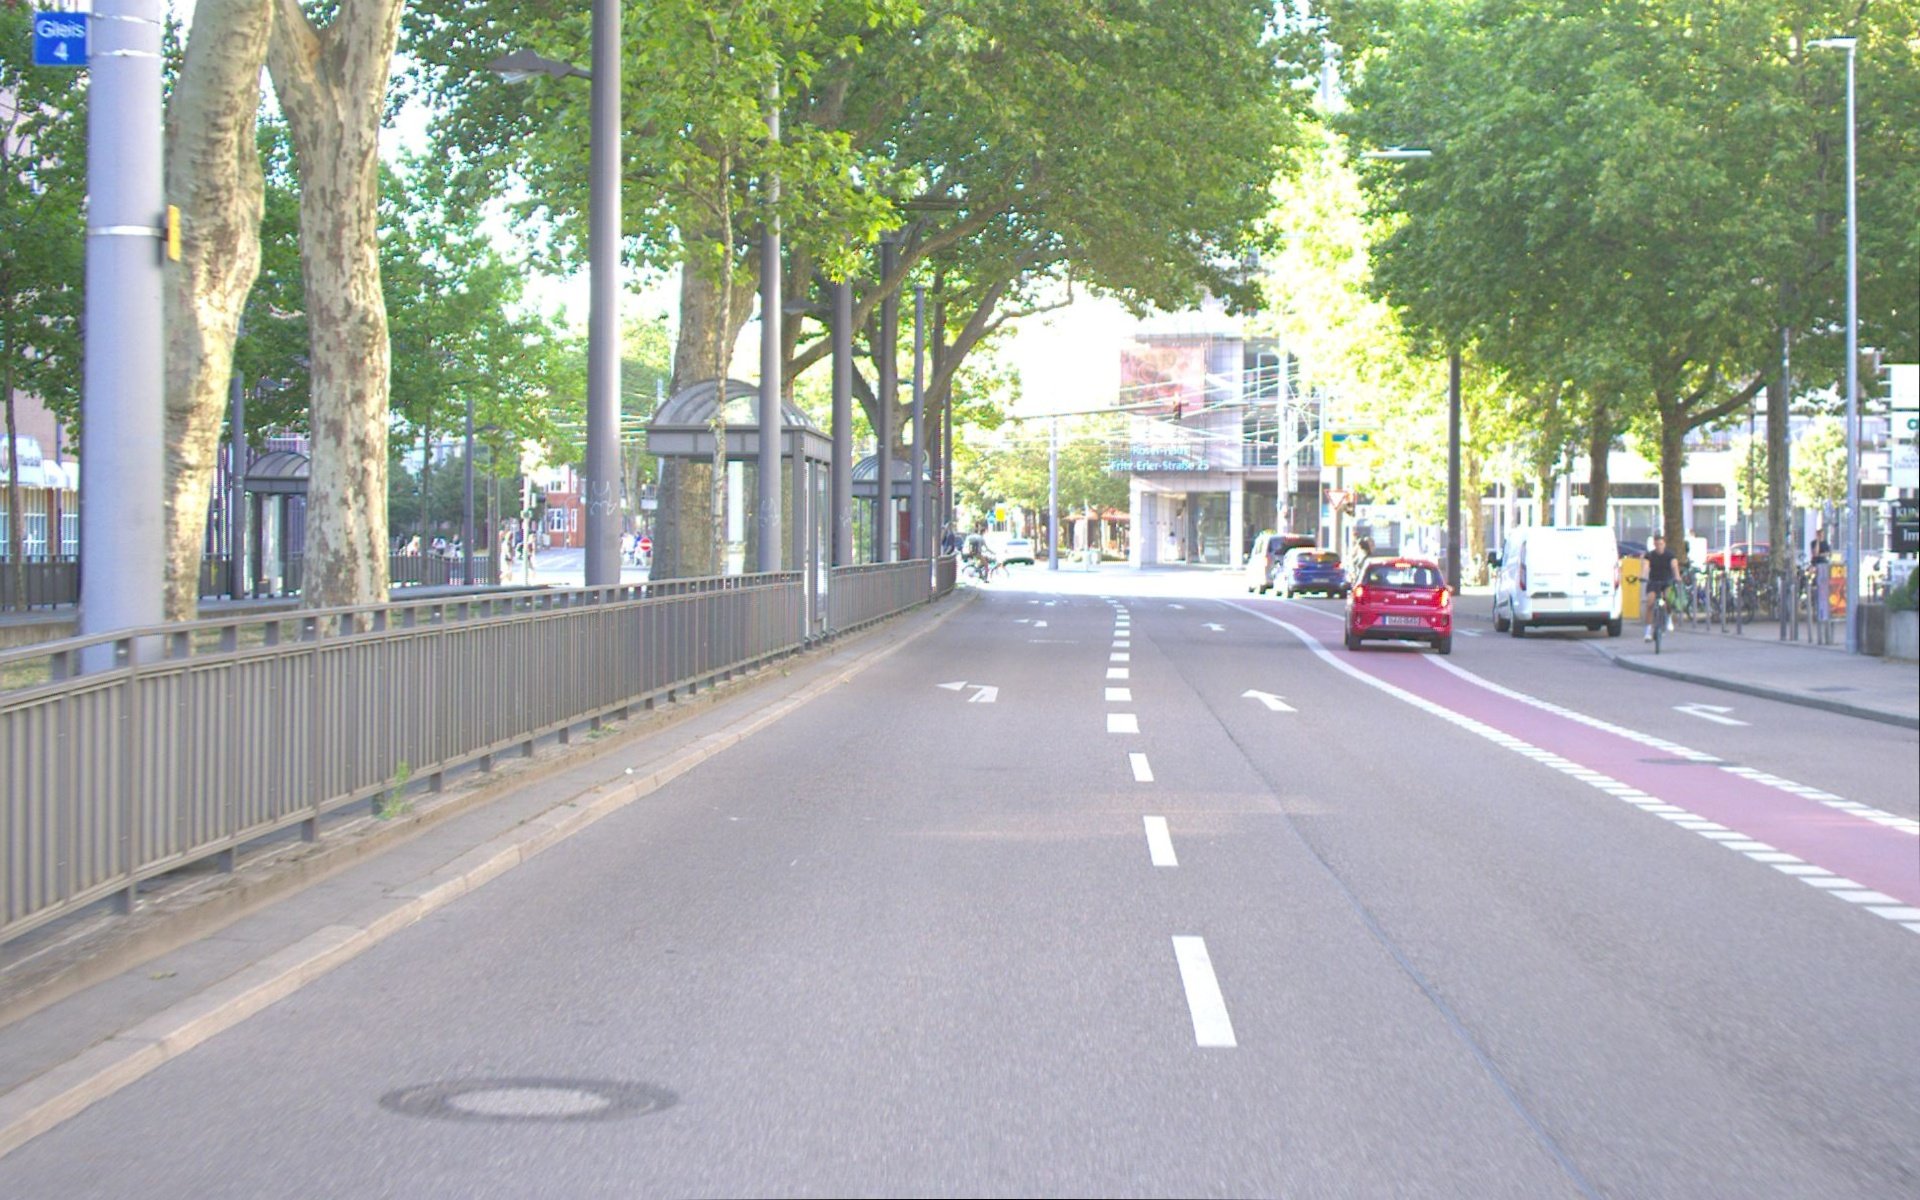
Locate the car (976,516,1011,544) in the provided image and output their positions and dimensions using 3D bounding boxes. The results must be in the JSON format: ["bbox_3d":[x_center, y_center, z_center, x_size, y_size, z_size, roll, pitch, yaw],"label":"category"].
[{"bbox_3d":[1.885,-3.960,195.195,1.777,1.529,3.412,1,2,-3],"label":"car"}]

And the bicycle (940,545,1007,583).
[{"bbox_3d":[0.447,-1.194,113.205,2.011,1.209,0.840,0,2,-18],"label":"bicycle"}]

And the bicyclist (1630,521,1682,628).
[{"bbox_3d":[11.133,-0.419,55.007,0.649,1.696,0.952,0,1,1],"label":"bicyclist"}]

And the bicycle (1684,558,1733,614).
[{"bbox_3d":[14.896,-0.290,68.427,0.586,1.063,1.900,-1,1,1],"label":"bicycle"}]

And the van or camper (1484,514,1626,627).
[{"bbox_3d":[10.877,-0.577,63.126,1.994,1.982,4.744,0,1,3],"label":"van or camper"}]

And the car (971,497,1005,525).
[{"bbox_3d":[1.654,-5.211,201.191,1.777,1.583,3.412,1,2,-3],"label":"car"}]

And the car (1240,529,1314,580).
[{"bbox_3d":[9.810,-1.419,106.573,1.777,1.529,3.513,1,2,-3],"label":"car"}]

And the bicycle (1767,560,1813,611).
[{"bbox_3d":[16.510,-0.298,68.395,0.503,0.978,1.768,-1,1,1],"label":"bicycle"}]

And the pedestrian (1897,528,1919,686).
[{"bbox_3d":[10.593,0.066,37.197,0.564,1.696,0.907,-3,1,0],"label":"pedestrian"}]

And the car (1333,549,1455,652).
[{"bbox_3d":[6.905,-0.017,54.939,1.613,1.529,3.412,1,2,2],"label":"car"}]

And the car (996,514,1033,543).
[{"bbox_3d":[2.991,-3.918,188.552,1.777,1.529,3.412,1,2,-3],"label":"car"}]

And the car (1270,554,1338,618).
[{"bbox_3d":[10.031,-0.420,100.365,1.635,1.793,3.330,0,2,0],"label":"car"}]

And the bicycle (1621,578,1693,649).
[{"bbox_3d":[11.129,0.201,54.936,0.683,1.063,2.469,-1,1,1],"label":"bicycle"}]

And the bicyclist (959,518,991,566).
[{"bbox_3d":[0.488,-1.912,113.192,0.836,1.585,0.840,0,2,-18],"label":"bicyclist"}]

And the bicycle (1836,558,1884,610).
[{"bbox_3d":[17.846,-0.326,68.172,0.503,0.978,1.768,-1,1,1],"label":"bicycle"}]

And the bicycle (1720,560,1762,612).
[{"bbox_3d":[15.537,-0.282,68.420,0.467,0.978,1.768,-1,1,1],"label":"bicycle"}]
